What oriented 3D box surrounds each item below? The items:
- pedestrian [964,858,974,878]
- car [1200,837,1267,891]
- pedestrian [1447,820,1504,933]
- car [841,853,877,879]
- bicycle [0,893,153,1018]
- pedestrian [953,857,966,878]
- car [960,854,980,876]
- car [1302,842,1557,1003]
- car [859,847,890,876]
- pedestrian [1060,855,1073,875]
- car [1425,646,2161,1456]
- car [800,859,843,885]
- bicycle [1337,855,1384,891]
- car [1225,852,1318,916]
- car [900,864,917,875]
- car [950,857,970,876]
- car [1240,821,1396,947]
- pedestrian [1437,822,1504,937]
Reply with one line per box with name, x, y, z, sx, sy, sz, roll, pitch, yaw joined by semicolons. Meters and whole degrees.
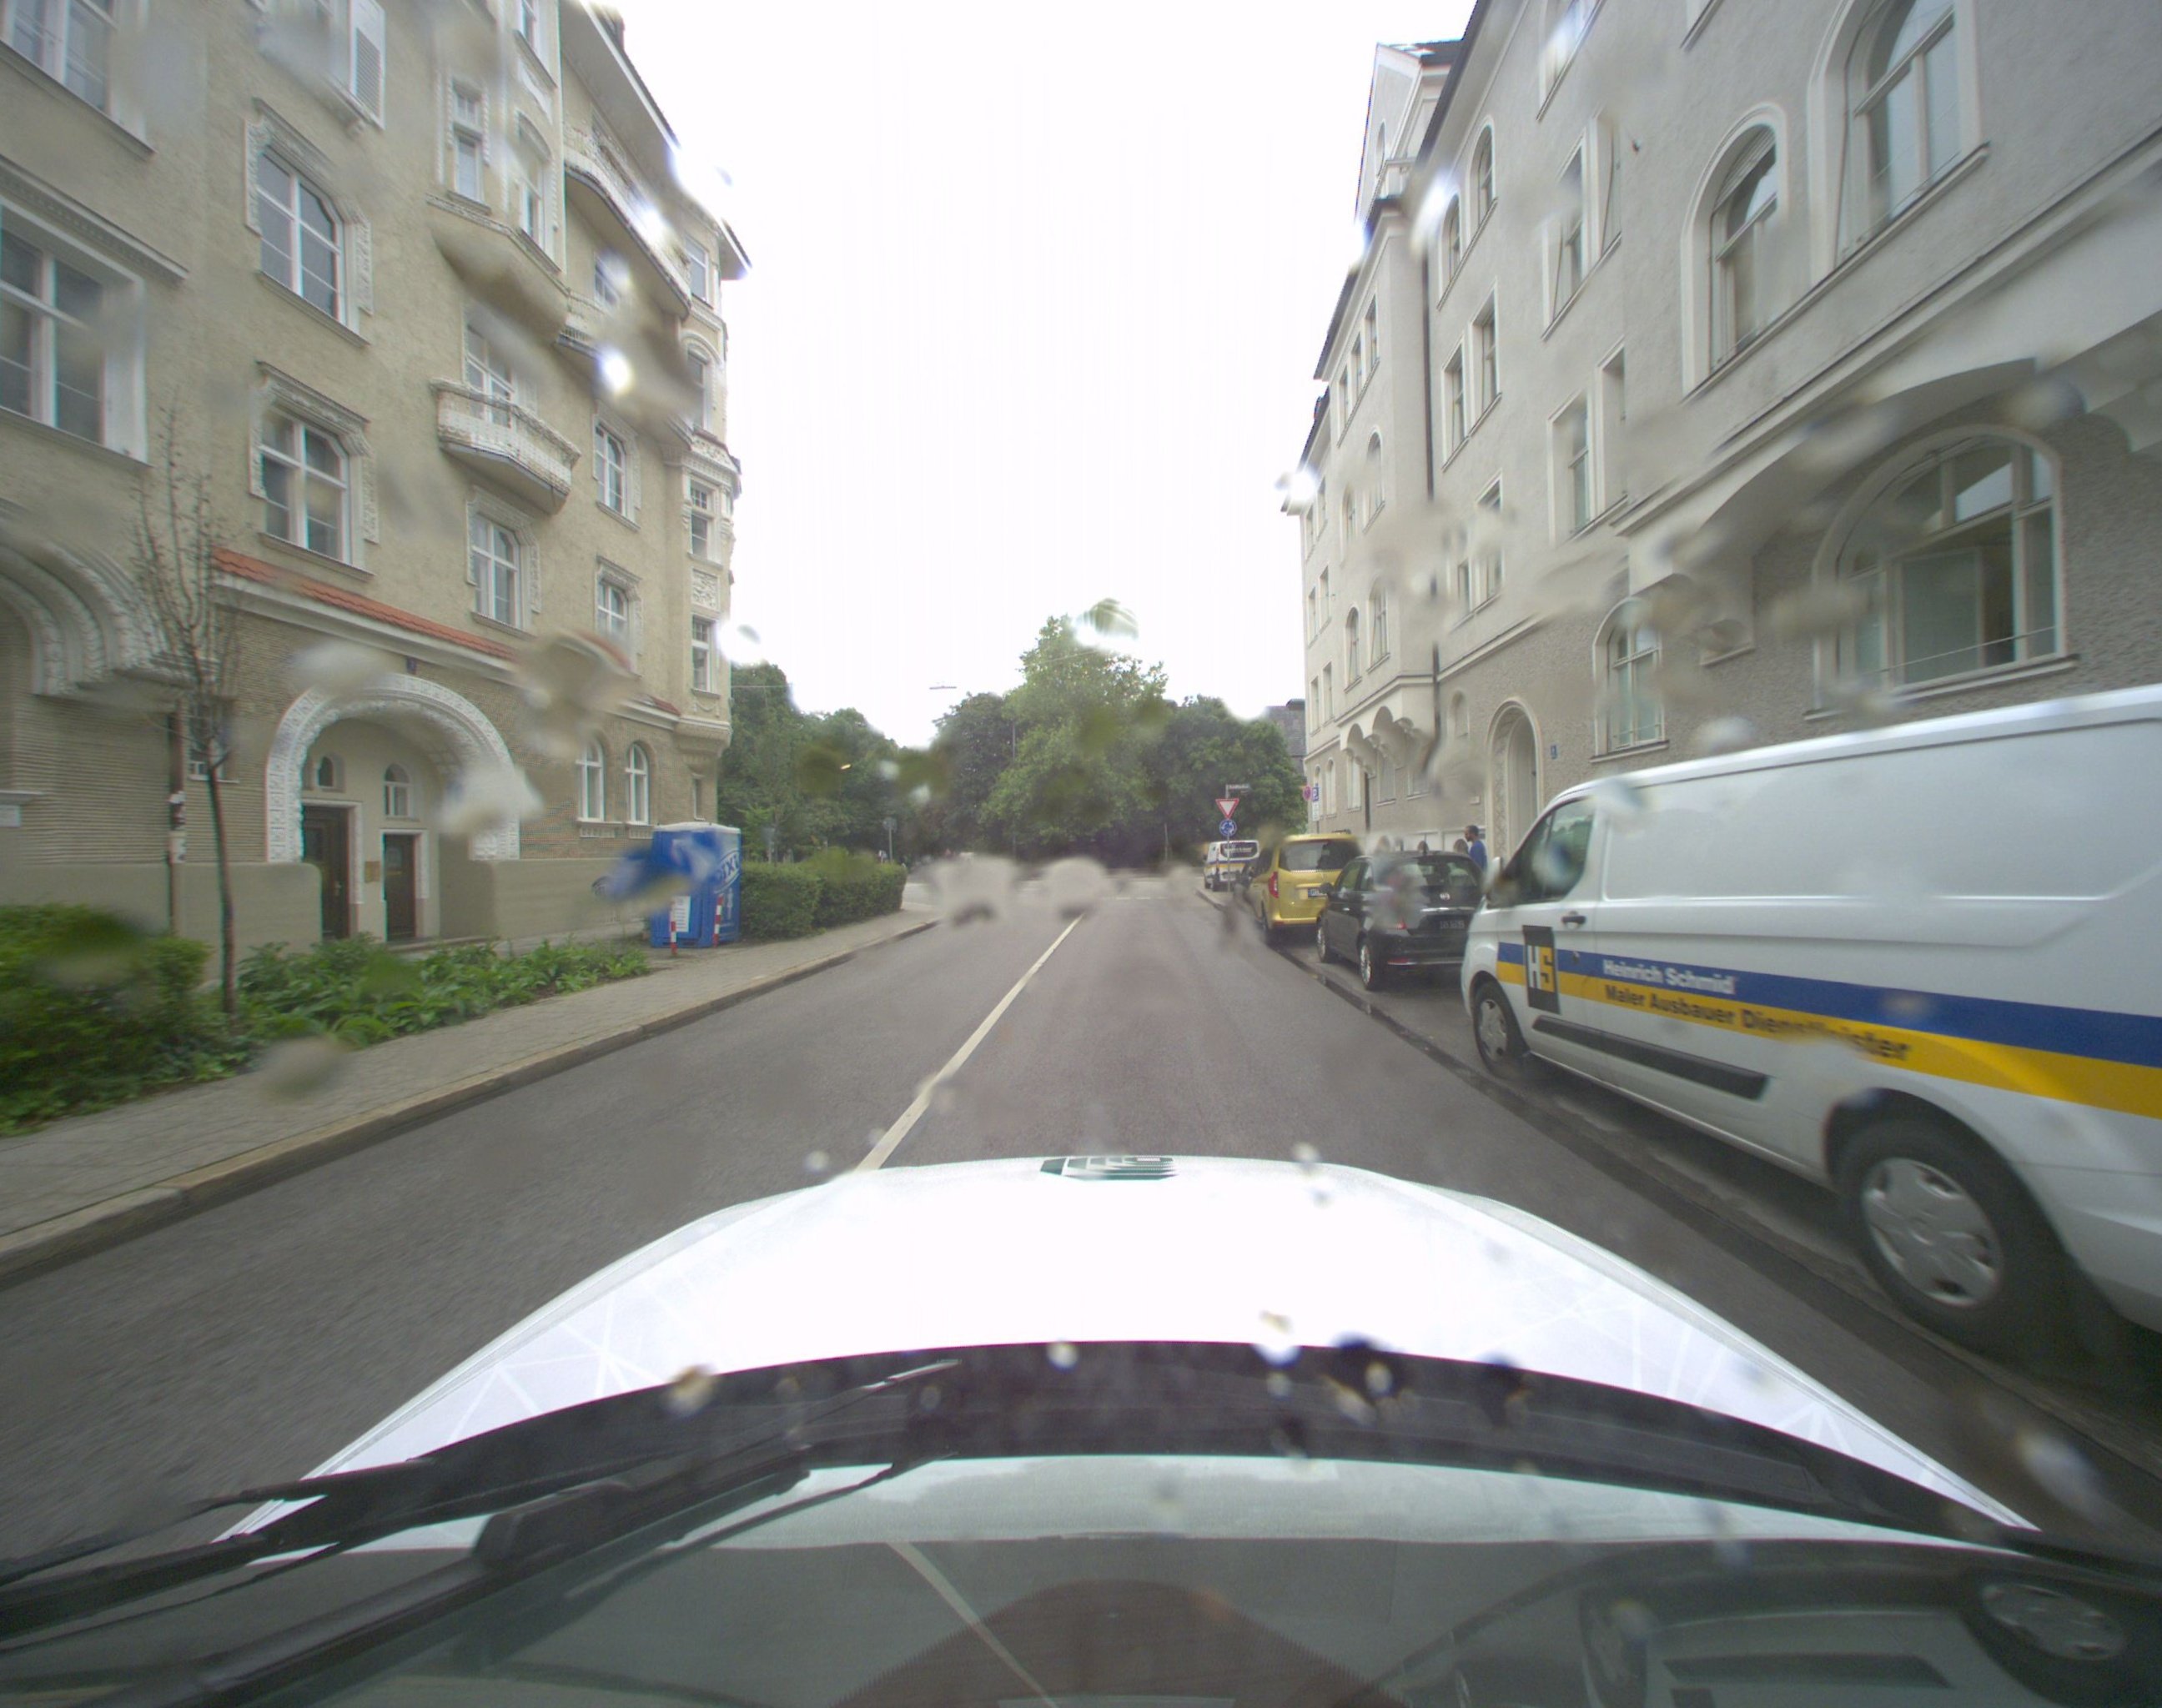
pedestrian;-9.811;1.217;71.407;0.636;1.667;0.691;-2;-1;-26
car;6.101;0.378;33.190;1.930;1.922;5.379;-3;0;3
pedestrian;6.104;0.348;12.625;0.635;1.702;0.455;-2;0;3
car;-21.717;1.144;79.877;2.079;2.264;5.595;-3;0;-3
bicycle;-11.346;1.064;8.530;0.817;1.206;2.079;0;0;3
pedestrian;-10.691;1.171;71.634;0.825;1.836;0.943;-2;-1;-31
car;-13.995;1.381;102.628;1.989;2.558;5.423;-2;0;-4
car;3.866;0.663;9.762;1.626;1.514;3.890;-1;0;5
car;-22.456;0.840;88.839;2.169;3.002;6.223;-2;0;-5
pedestrian;-0.987;0.789;56.607;0.765;1.356;1.133;-2;0;5
car;3.622;0.447;3.926;1.986;1.918;4.889;-2;0;2
car;-20.797;1.396;65.507;2.079;1.903;4.853;-2;0;-3
bicycle;9.906;0.648;29.027;0.835;1.112;2.761;-5;0;4
car;4.778;0.709;20.890;1.704;1.445;3.832;-2;0;4
car;-24.047;2.128;113.631;1.992;1.487;4.119;-1;0;-7
car;-12.902;1.335;87.120;1.909;1.937;4.958;-2;0;-6
car;4.135;0.476;15.016;1.983;1.918;4.579;-2;0;7
pedestrian;6.071;0.388;12.729;0.654;1.729;0.759;-1;0;3
